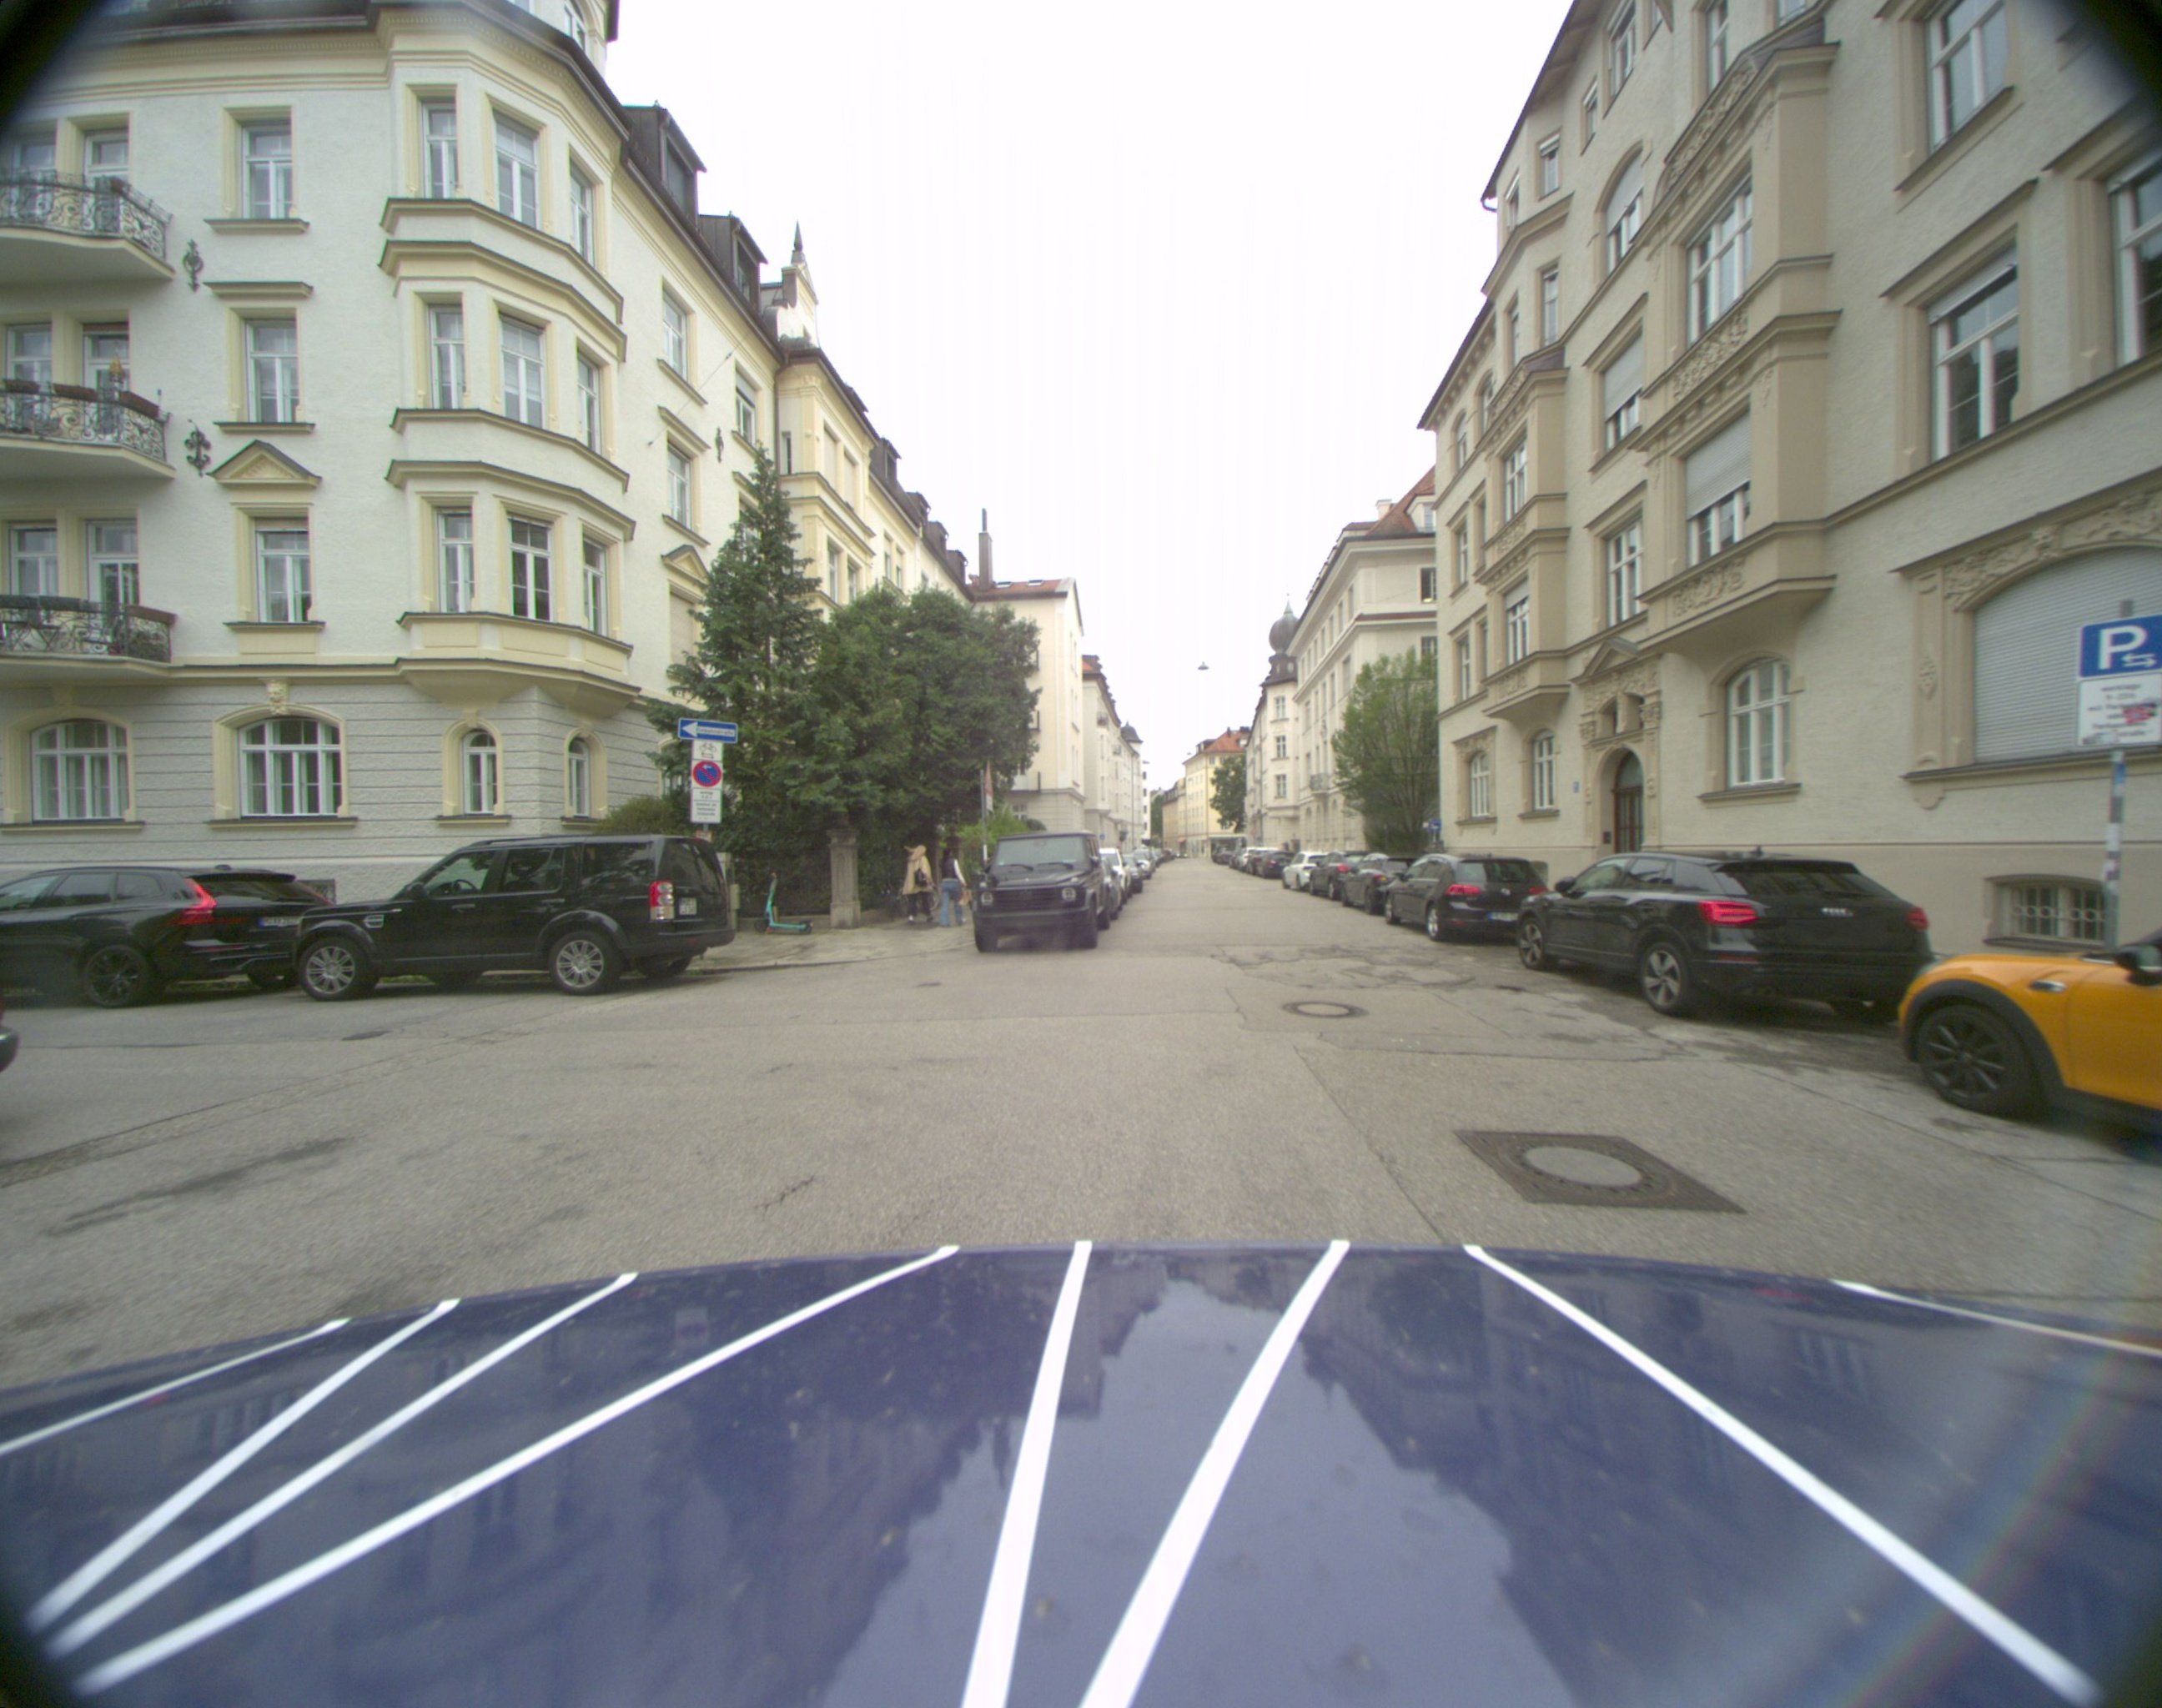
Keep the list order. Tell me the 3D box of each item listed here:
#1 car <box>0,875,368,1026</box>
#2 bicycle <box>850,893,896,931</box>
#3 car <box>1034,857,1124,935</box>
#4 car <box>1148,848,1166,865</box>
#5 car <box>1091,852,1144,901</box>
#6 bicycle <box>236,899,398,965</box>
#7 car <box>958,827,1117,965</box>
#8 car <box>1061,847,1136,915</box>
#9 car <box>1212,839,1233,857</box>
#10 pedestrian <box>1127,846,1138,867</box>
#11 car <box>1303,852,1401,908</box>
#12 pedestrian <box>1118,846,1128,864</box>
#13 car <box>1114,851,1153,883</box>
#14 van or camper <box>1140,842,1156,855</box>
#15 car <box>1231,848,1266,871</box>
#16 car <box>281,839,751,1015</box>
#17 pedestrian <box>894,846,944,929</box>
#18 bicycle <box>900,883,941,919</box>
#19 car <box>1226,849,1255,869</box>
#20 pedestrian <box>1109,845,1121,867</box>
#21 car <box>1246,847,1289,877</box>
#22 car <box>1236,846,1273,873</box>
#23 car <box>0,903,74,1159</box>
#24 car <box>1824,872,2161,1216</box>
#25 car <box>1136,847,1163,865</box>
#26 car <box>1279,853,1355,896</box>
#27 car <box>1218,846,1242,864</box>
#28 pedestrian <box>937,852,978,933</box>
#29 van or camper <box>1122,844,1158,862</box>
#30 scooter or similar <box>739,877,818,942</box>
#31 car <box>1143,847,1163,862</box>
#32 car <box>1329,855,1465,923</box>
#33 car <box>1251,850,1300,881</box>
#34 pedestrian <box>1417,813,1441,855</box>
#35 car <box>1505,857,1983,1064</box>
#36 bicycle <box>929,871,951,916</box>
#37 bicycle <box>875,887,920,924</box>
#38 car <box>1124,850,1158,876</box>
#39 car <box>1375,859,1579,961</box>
[{"bbox_3d":[-11.957,1.130,9.500,4.247,1.639,1.964,-1,-1,1],"label":"car"},{"bbox_3d":[-4.325,1.202,15.852,0.514,0.679,1.123,-1,1,8],"label":"bicycle"},{"bbox_3d":[0.063,0.924,18.267,1.726,1.510,3.631,-4,1,5],"label":"car"},{"bbox_3d":[8.472,0.264,84.840,1.804,1.665,4.191,-5,0,7],"label":"car"},{"bbox_3d":[1.415,0.783,28.503,1.754,1.601,4.425,-3,0,4],"label":"car"},{"bbox_3d":[-14.290,1.447,14.245,2.412,1.099,0.538,-2,1,-1],"label":"bicycle"},{"bbox_3d":[-0.539,0.644,13.480,1.955,1.943,4.668,-3,0,6],"label":"car"},{"bbox_3d":[0.631,0.746,23.510,1.726,1.759,4.415,-4,1,8],"label":"car"},{"bbox_3d":[15.070,-0.643,80.946,1.840,1.883,4.765,0,0,7],"label":"car"},{"bbox_3d":[4.413,0.177,65.457,0.885,1.776,1.111,-1,1,6],"label":"pedestrian"},{"bbox_3d":[8.246,0.733,23.554,1.774,1.509,4.386,1,0,5],"label":"car"},{"bbox_3d":[4.343,0.066,77.977,0.885,1.803,1.111,-1,1,8],"label":"pedestrian"},{"bbox_3d":[2.860,0.655,40.429,1.788,1.496,4.066,-2,1,7],"label":"car"},{"bbox_3d":[13.587,-1.141,153.732,1.967,2.494,5.719,-2,0,-7],"label":"van or camper"},{"bbox_3d":[11.846,0.360,53.855,1.786,1.532,4.258,1,1,4],"label":"car"},{"bbox_3d":[-6.887,0.860,9.652,4.540,1.938,1.904,-1,-1,1],"label":"car"},{"bbox_3d":[-3.418,0.678,16.001,0.694,1.693,0.738,2,2,36],"label":"pedestrian"},{"bbox_3d":[-3.908,1.130,18.599,0.514,0.777,1.355,-1,1,8],"label":"bicycle"},{"bbox_3d":[12.277,0.375,58.535,1.796,1.407,4.280,1,1,7],"label":"car"},{"bbox_3d":[2.840,0.188,64.057,0.885,1.801,1.112,-1,1,9],"label":"pedestrian"},{"bbox_3d":[10.586,0.414,43.375,1.840,1.609,4.246,-1,0,6],"label":"car"},{"bbox_3d":[11.092,0.346,48.816,1.919,1.609,4.573,-1,0,8],"label":"car"},{"bbox_3d":[-8.771,1.128,3.709,4.926,1.474,1.864,-2,1,-2],"label":"car"},{"bbox_3d":[5.665,0.900,3.135,1.643,1.491,3.974,1,1,8],"label":"car"},{"bbox_3d":[5.967,0.148,65.971,1.997,1.449,4.715,-2,0,8],"label":"car"},{"bbox_3d":[8.602,0.704,28.079,1.840,1.426,4.246,0,0,5],"label":"car"},{"bbox_3d":[13.591,0.069,69.585,1.730,1.609,4.122,1,1,5],"label":"car"},{"bbox_3d":[-2.523,0.767,15.608,0.688,1.619,0.708,0,2,3],"label":"pedestrian"},{"bbox_3d":[9.750,-0.198,125.870,5.866,2.697,2.305,-2,-2,0],"label":"van or camper"},{"bbox_3d":[-5.669,1.033,14.259,1.349,1.183,0.371,-1,2,9],"label":"scooter or similar"},{"bbox_3d":[7.167,0.051,76.078,1.840,1.391,4.975,-3,0,4],"label":"car"},{"bbox_3d":[7.532,0.747,18.643,1.837,1.426,4.555,0,0,6],"label":"car"},{"bbox_3d":[9.832,0.541,38.710,1.790,1.404,4.369,-1,0,7],"label":"car"},{"bbox_3d":[13.854,-0.787,30.277,0.674,1.617,0.631,-1,1,4],"label":"pedestrian"},{"bbox_3d":[6.188,0.816,7.857,1.756,1.491,4.020,1,1,7],"label":"car"},{"bbox_3d":[-3.674,0.999,19.799,0.514,1.088,1.353,-1,1,-11],"label":"bicycle"},{"bbox_3d":[-4.132,1.153,17.175,0.514,0.730,1.355,-1,1,8],"label":"bicycle"},{"bbox_3d":[4.062,0.557,51.068,1.825,1.560,4.403,-4,0,9],"label":"car"},{"bbox_3d":[6.741,0.853,13.521,1.840,1.427,4.247,1,1,7],"label":"car"}]
